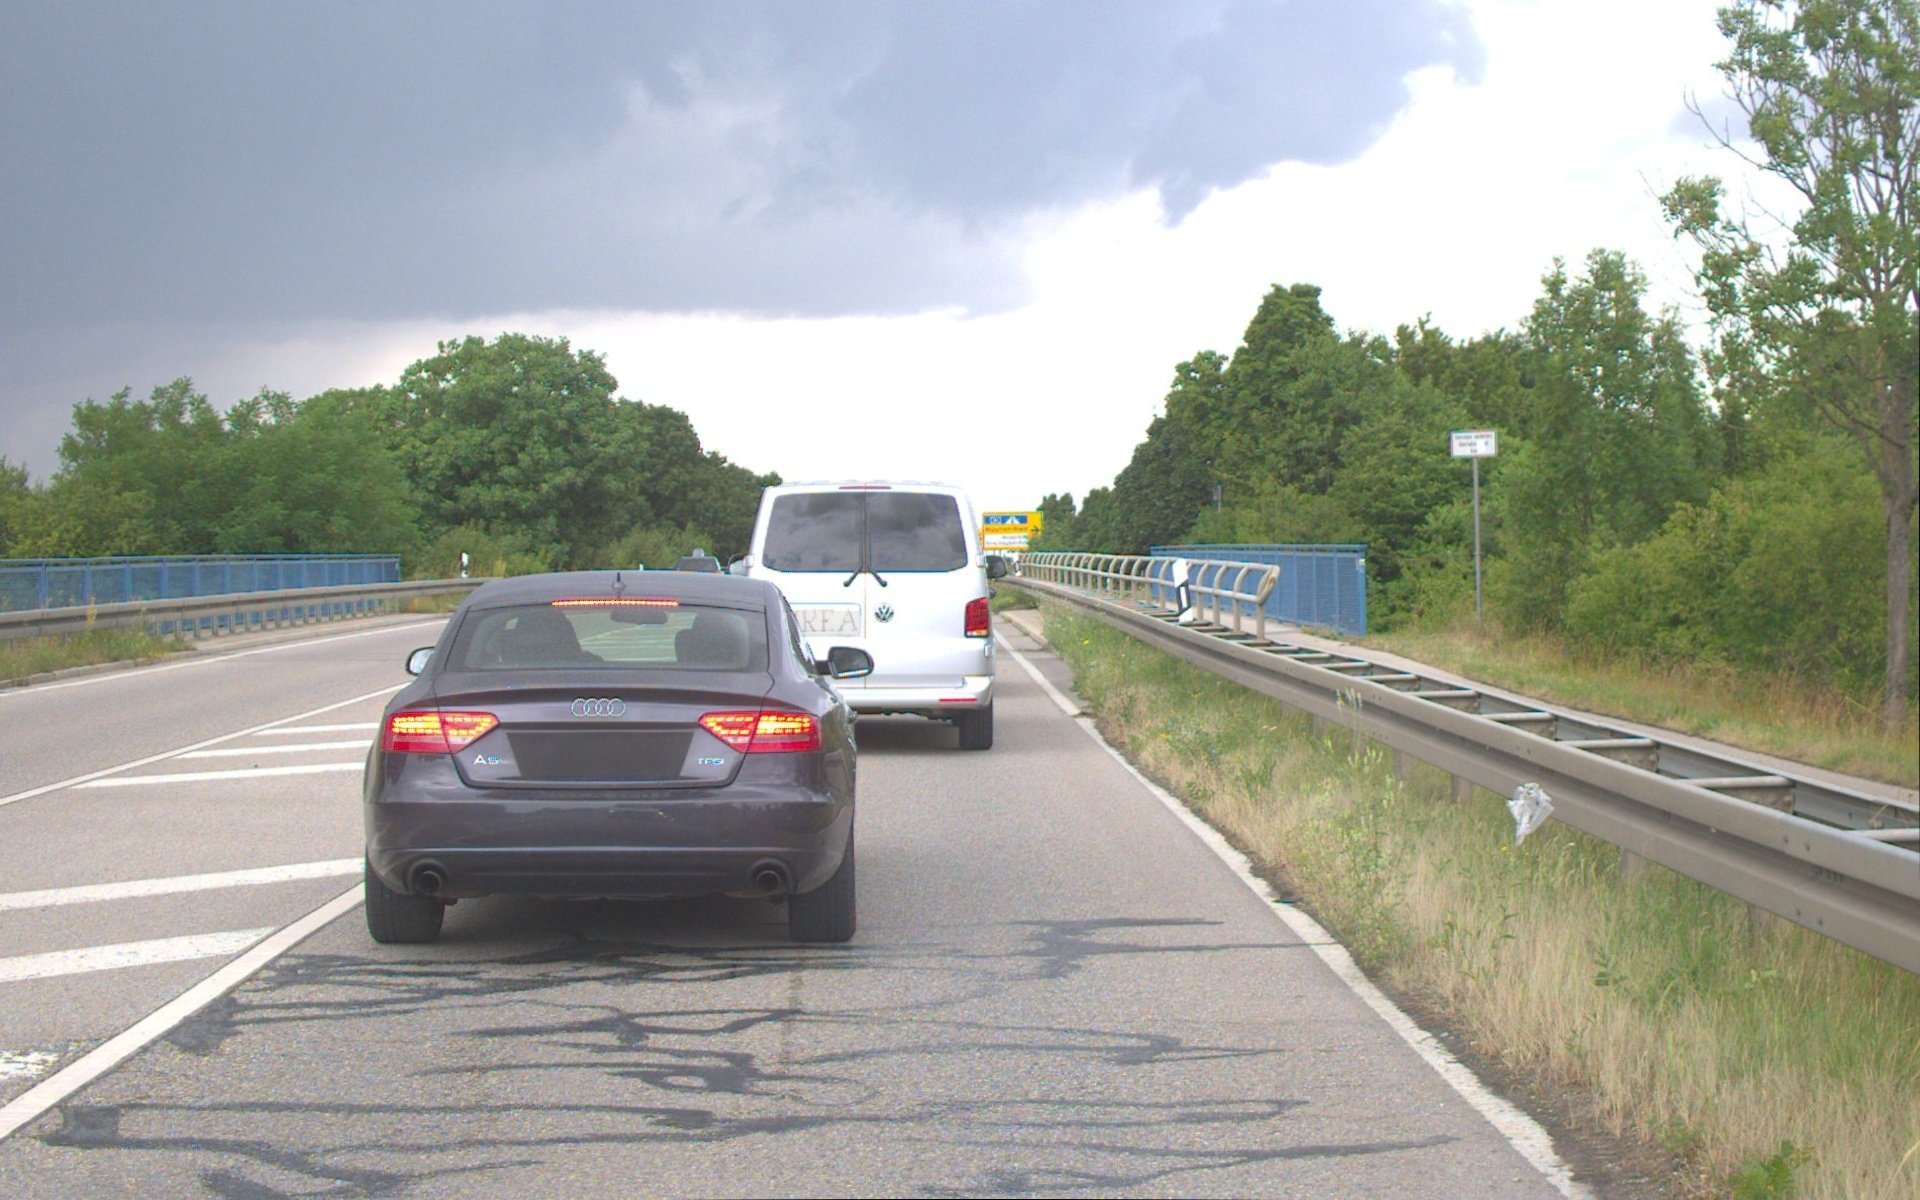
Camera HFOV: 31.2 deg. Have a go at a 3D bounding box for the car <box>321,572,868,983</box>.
[{"bbox_3d":[-1.318,0.597,13.928,1.821,1.376,4.072,-1,1,-1],"label":"car"}]

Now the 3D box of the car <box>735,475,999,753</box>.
[{"bbox_3d":[-0.680,0.071,26.119,1.828,1.929,4.000,-1,1,-1],"label":"car"}]

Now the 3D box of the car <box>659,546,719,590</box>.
[{"bbox_3d":[-9.193,-1.102,116.855,1.799,1.445,4.446,-1,1,-2],"label":"car"}]
